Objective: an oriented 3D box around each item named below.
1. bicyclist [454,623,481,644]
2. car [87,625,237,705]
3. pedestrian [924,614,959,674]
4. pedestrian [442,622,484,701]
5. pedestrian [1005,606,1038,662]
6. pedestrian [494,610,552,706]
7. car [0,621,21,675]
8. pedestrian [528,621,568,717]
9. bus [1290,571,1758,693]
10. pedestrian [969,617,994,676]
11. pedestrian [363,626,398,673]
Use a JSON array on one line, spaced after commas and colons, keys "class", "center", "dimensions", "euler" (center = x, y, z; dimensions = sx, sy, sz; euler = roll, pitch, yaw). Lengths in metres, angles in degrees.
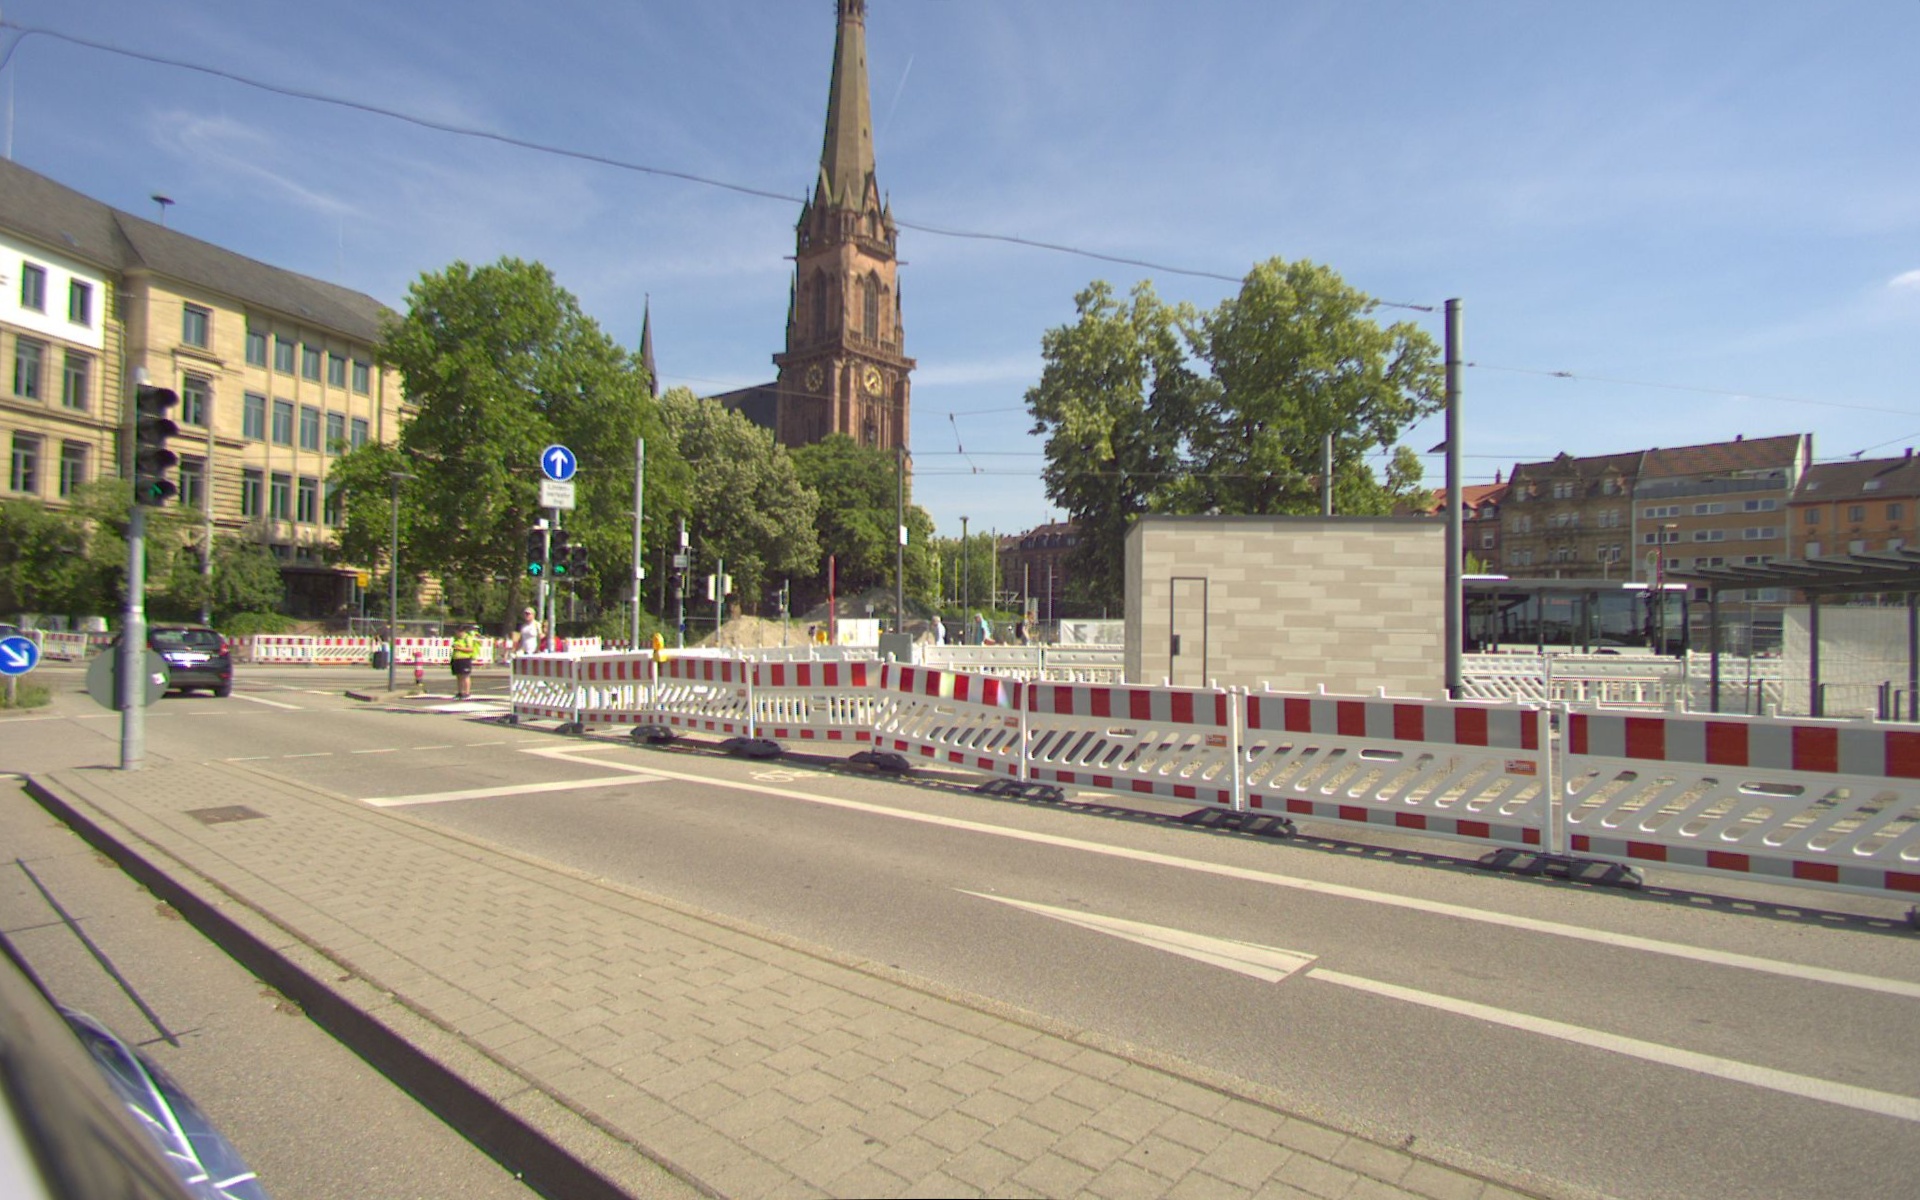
[{"class": "bicyclist", "center": [-22.402, 1.502, 46.024], "dimensions": [0.857, 0.934, 0.682], "euler": [1, -2, 2]}, {"class": "car", "center": [-16.109, 1.257, 20.362], "dimensions": [3.816, 1.462, 1.649], "euler": [-1, -4, 41]}, {"class": "pedestrian", "center": [-0.511, 1.214, 28.087], "dimensions": [0.780, 1.628, 0.664], "euler": [0, -2, -19]}, {"class": "pedestrian", "center": [-10.123, 1.243, 20.600], "dimensions": [0.657, 1.555, 0.424], "euler": [-2, 0, -39]}, {"class": "pedestrian", "center": [1.907, 1.050, 31.486], "dimensions": [0.922, 1.726, 0.559], "euler": [0, -2, -6]}, {"class": "pedestrian", "center": [-8.462, 1.109, 19.613], "dimensions": [0.830, 1.826, 0.649], "euler": [0, -2, 2]}, {"class": "car", "center": [-27.480, 1.284, 27.992], "dimensions": [3.998, 1.422, 1.775], "euler": [-1, -4, 41]}, {"class": "pedestrian", "center": [-7.136, 1.181, 17.513], "dimensions": [0.686, 1.628, 0.346], "euler": [-1, -3, 42]}, {"class": "bus", "center": [17.051, 0.955, 31.501], "dimensions": [12.503, 3.516, 2.857], "euler": [0, -2, 6]}, {"class": "pedestrian", "center": [0.602, 1.298, 28.370], "dimensions": [0.576, 1.628, 0.691], "euler": [0, -2, -10]}, {"class": "pedestrian", "center": [-20.865, 1.786, 36.448], "dimensions": [0.926, 1.668, 0.845], "euler": [2, -3, -41]}]
